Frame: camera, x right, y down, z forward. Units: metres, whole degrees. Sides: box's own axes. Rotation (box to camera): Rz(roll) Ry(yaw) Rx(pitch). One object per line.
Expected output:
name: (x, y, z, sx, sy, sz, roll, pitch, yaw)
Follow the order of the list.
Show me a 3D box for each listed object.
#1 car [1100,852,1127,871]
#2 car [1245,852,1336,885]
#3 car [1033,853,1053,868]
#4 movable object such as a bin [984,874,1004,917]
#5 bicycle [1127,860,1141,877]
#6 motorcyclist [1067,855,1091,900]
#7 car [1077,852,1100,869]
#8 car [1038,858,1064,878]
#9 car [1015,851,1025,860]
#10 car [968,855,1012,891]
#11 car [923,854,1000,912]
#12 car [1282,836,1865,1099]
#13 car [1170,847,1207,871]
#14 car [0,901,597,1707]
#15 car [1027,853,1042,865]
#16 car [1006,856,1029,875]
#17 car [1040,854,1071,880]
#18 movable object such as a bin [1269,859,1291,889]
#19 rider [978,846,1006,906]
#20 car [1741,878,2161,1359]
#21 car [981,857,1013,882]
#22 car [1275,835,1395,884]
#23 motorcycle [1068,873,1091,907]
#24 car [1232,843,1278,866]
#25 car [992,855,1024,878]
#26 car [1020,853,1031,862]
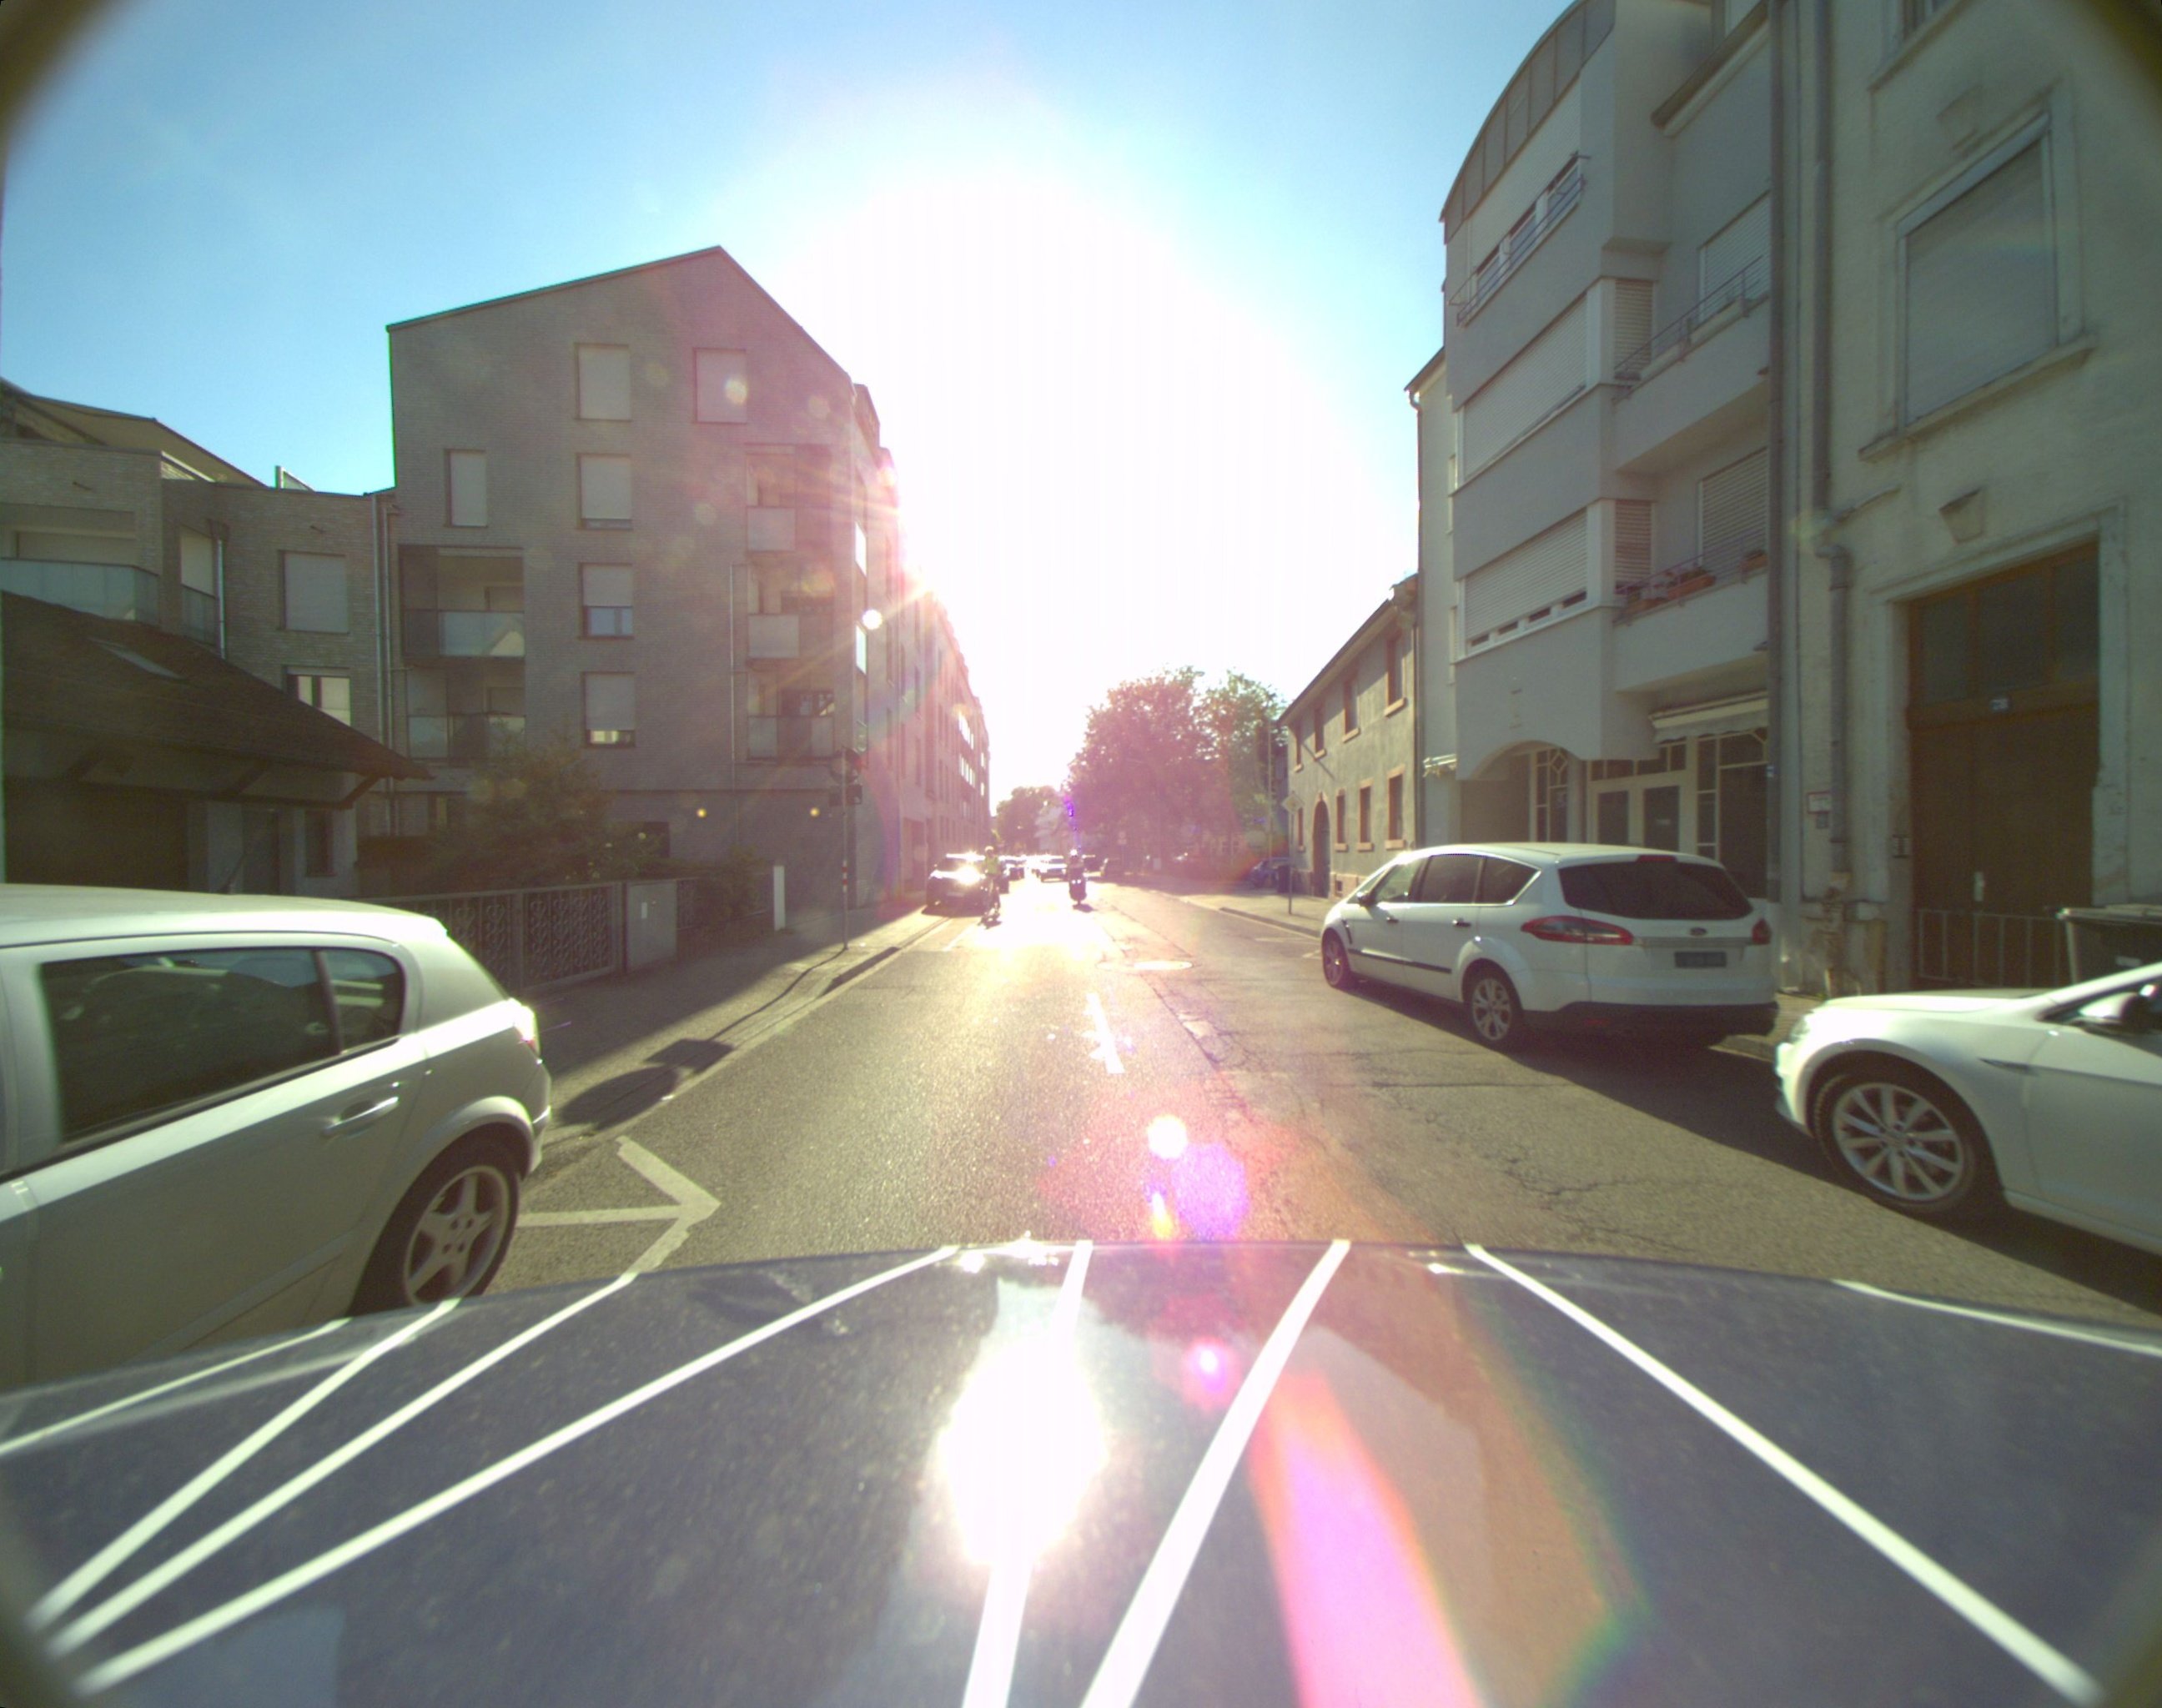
car: (2.669, 0.611, 63.068, 1.702, 1.483, 3.998, -1, 0, -5)
car: (10.008, 0.677, 36.527, 3.778, 1.521, 2.000, 1, 0, -3)
car: (-3.790, 0.619, 75.283, 1.822, 1.458, 4.267, 0, 0, -5)
movable object such as a bin: (-2.416, 1.136, 21.134, 0.456, 1.027, 1.839, -3, 2, -5)
bicycle: (3.384, 0.925, 48.699, 0.705, 0.997, 1.941, -1, 0, 0)
motorcyclist: (-0.066, 0.738, 24.330, 0.718, 1.424, 0.746, 0, 1, -5)
car: (0.747, 0.645, 81.741, 1.937, 1.695, 5.097, -3, 1, -5)
car: (-2.376, 1.071, 59.741, 1.822, 1.458, 4.267, 0, 0, -5)
car: (-14.103, 0.375, 175.963, 1.999, 2.002, 3.999, 0, 0, -3)
car: (-4.398, 0.906, 37.274, 1.999, 1.643, 4.760, 0, 0, -6)
car: (-3.711, 0.852, 24.383, 1.860, 1.626, 4.622, 2, 0, -3)
car: (3.909, 0.719, 7.501, 2.000, 1.638, 5.219, -1, 0, -6)
car: (9.172, 0.424, 65.296, 1.849, 1.884, 4.903, -1, 0, -8)
car: (-2.885, 0.963, 1.012, 1.746, 1.483, 4.437, 1, 0, -2)
car: (-5.926, 0.560, 95.990, 1.822, 1.458, 4.267, 0, 0, -5)
car: (-5.357, 0.939, 63.942, 1.822, 1.458, 4.267, 0, 0, -5)
car: (-1.711, 0.842, 50.011, 1.709, 1.570, 3.913, -1, 1, -7)
movable object such as a bin: (7.594, 0.751, 29.023, 0.600, 1.088, 0.751, -1, 1, -3)
rider: (-2.443, 0.591, 20.981, 0.655, 1.553, 1.082, -3, 2, -5)
car: (4.391, 0.893, 1.857, 1.770, 1.487, 4.125, 2, 0, -4)
car: (-5.186, 0.942, 47.272, 1.717, 1.396, 4.071, 3, 0, -4)
car: (10.920, 0.260, 32.873, 4.375, 1.783, 1.988, -4, -2, -2)
motorcycle: (-0.070, 1.133, 24.508, 0.599, 1.004, 1.820, 0, 0, -5)
car: (15.097, 0.053, 66.211, 2.025, 1.937, 4.317, -1, 0, -16)
car: (-5.509, 0.943, 57.933, 1.894, 1.702, 4.774, 0, 0, 1)
car: (-10.891, 0.738, 148.794, 2.000, 1.666, 3.997, 0, 0, -7)
